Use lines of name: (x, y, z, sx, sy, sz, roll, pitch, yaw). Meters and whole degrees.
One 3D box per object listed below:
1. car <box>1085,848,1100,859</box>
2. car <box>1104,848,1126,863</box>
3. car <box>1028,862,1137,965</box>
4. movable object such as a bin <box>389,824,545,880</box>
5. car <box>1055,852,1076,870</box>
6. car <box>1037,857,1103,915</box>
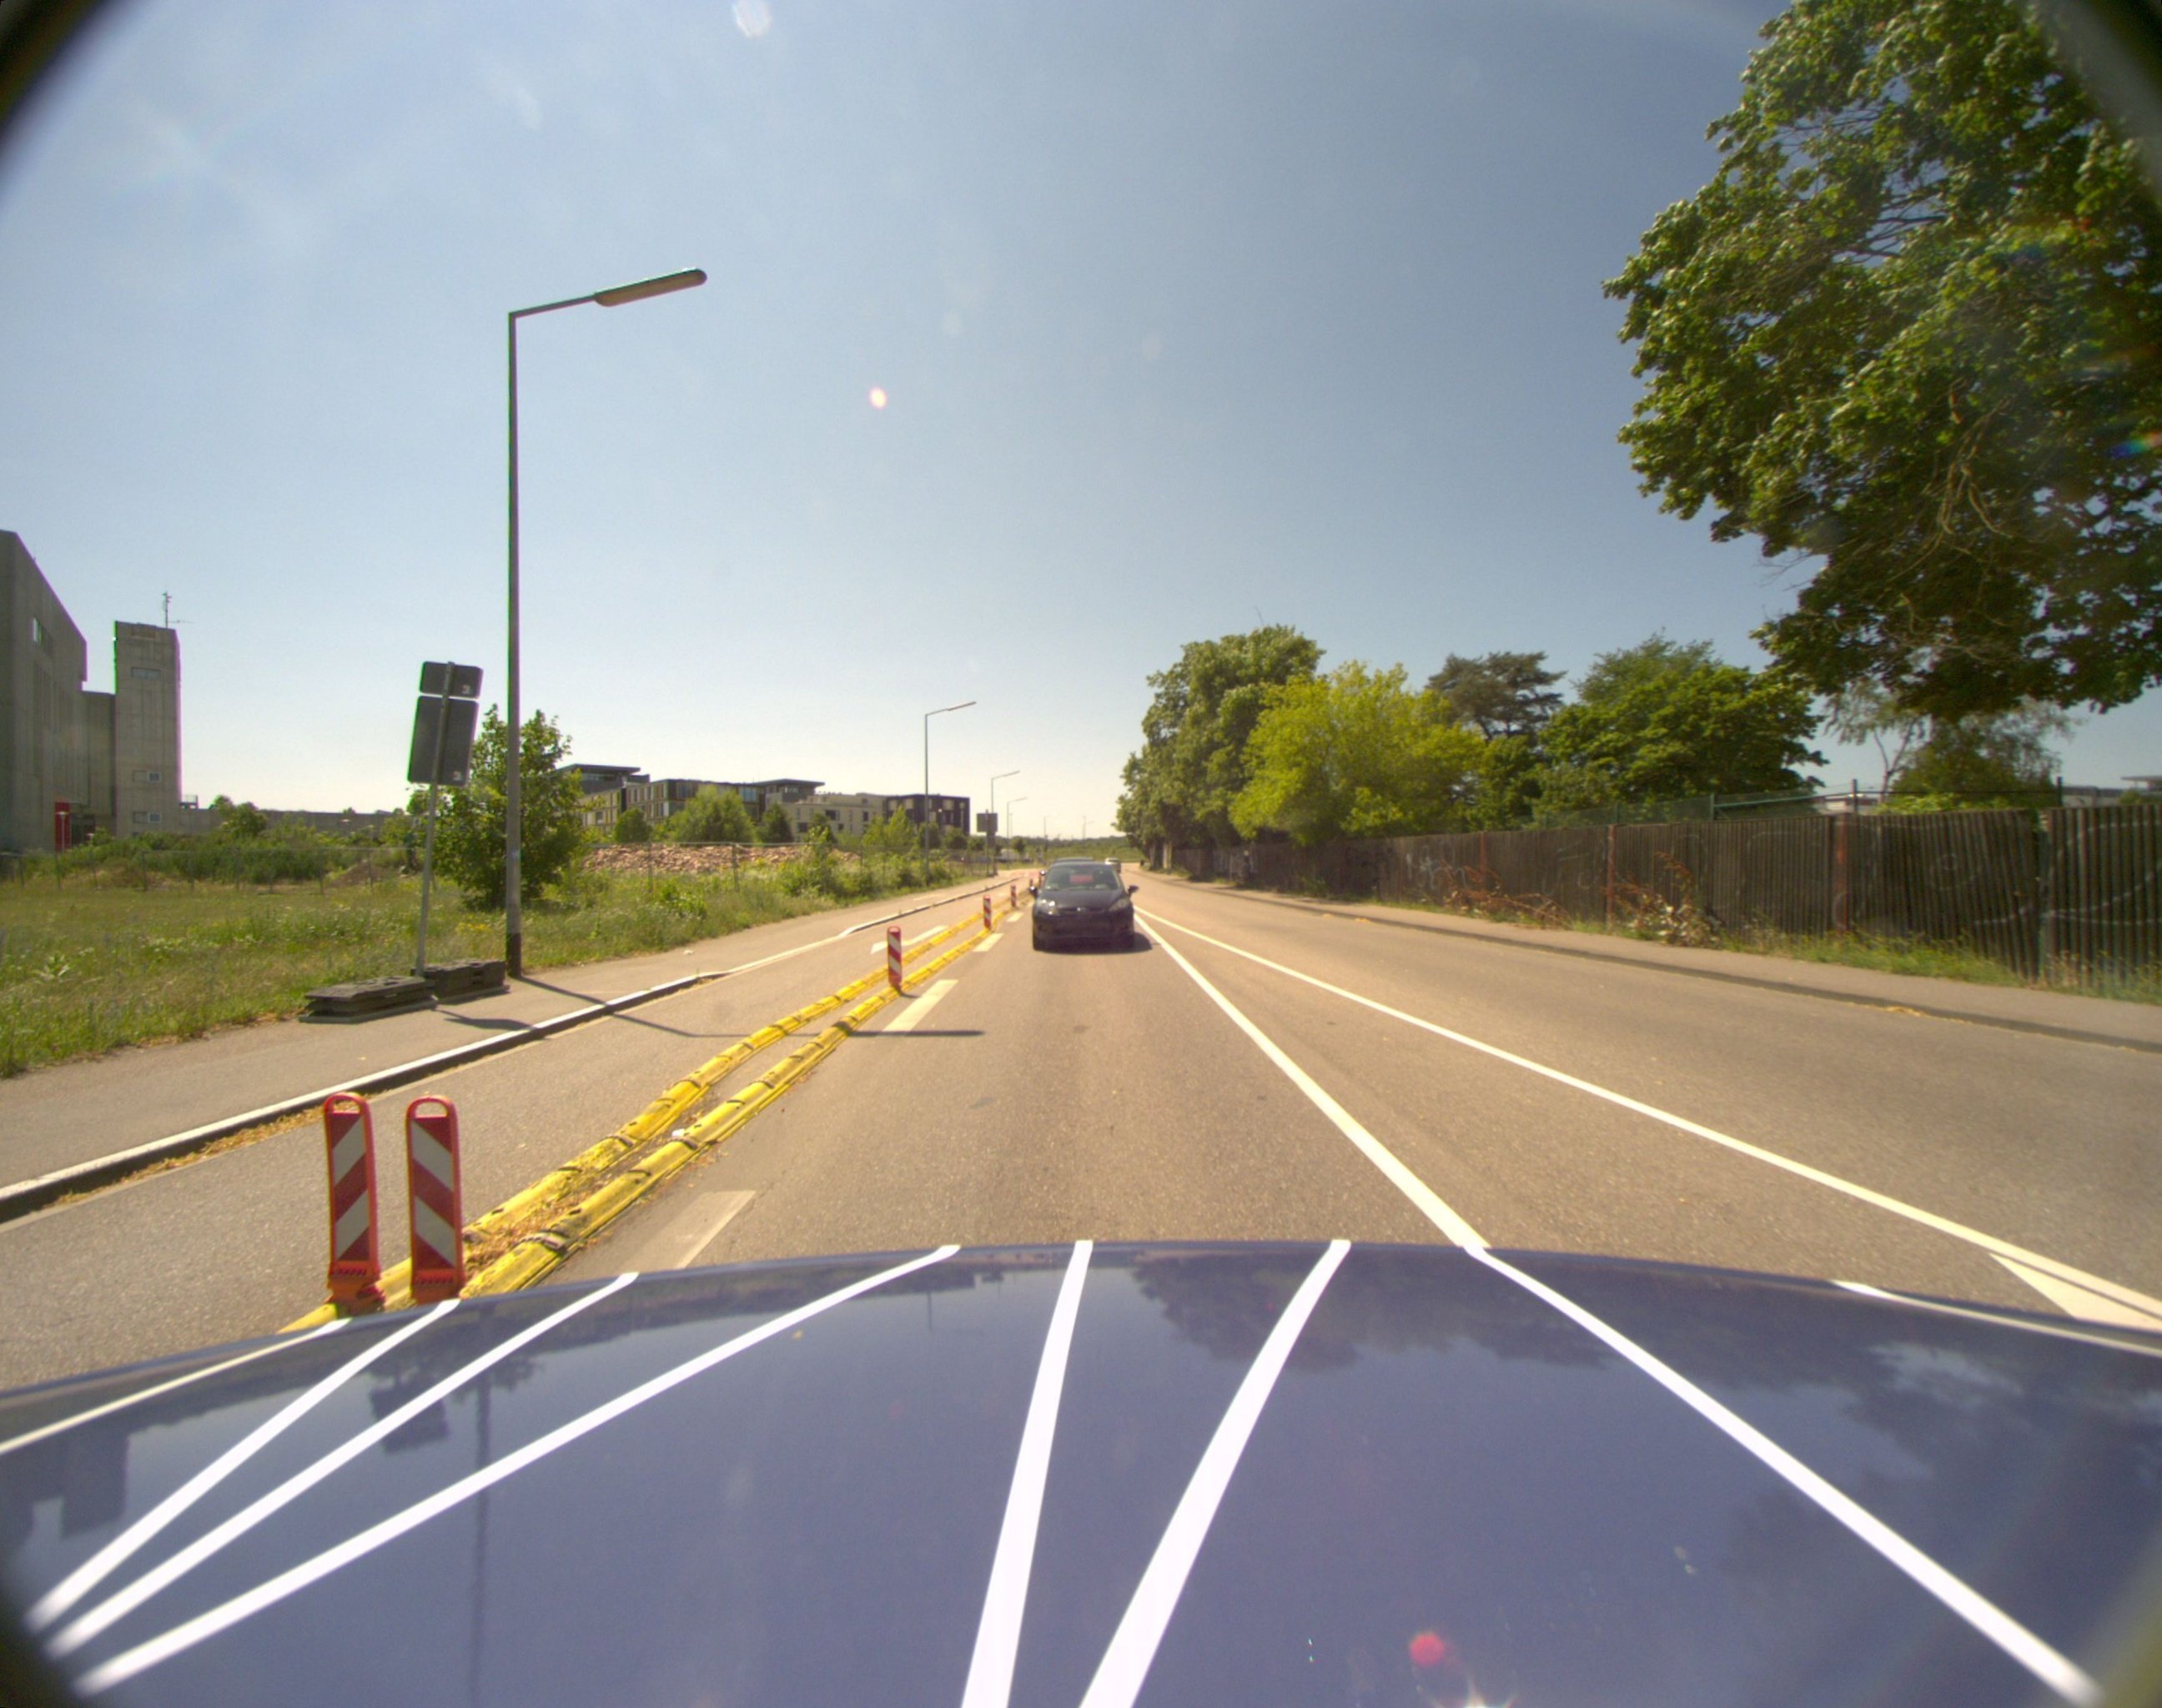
car: (1.527, -0.066, 102.112, 1.759, 1.536, 3.693, 0, 0, -2)
car: (3.356, 0.132, 75.924, 1.719, 1.455, 3.841, 1, 0, -5)
car: (0.043, 0.911, 13.244, 1.632, 1.499, 3.819, 0, 0, 1)
movable object such as a bin: (-37.976, -0.169, 47.460, 2.810, 3.131, 7.608, -2, 1, 8)
car: (-1.401, 0.566, 67.182, 1.759, 1.536, 3.693, 0, 0, -2)
car: (-0.261, 0.851, 22.059, 1.720, 1.518, 4.212, 0, 0, 1)
